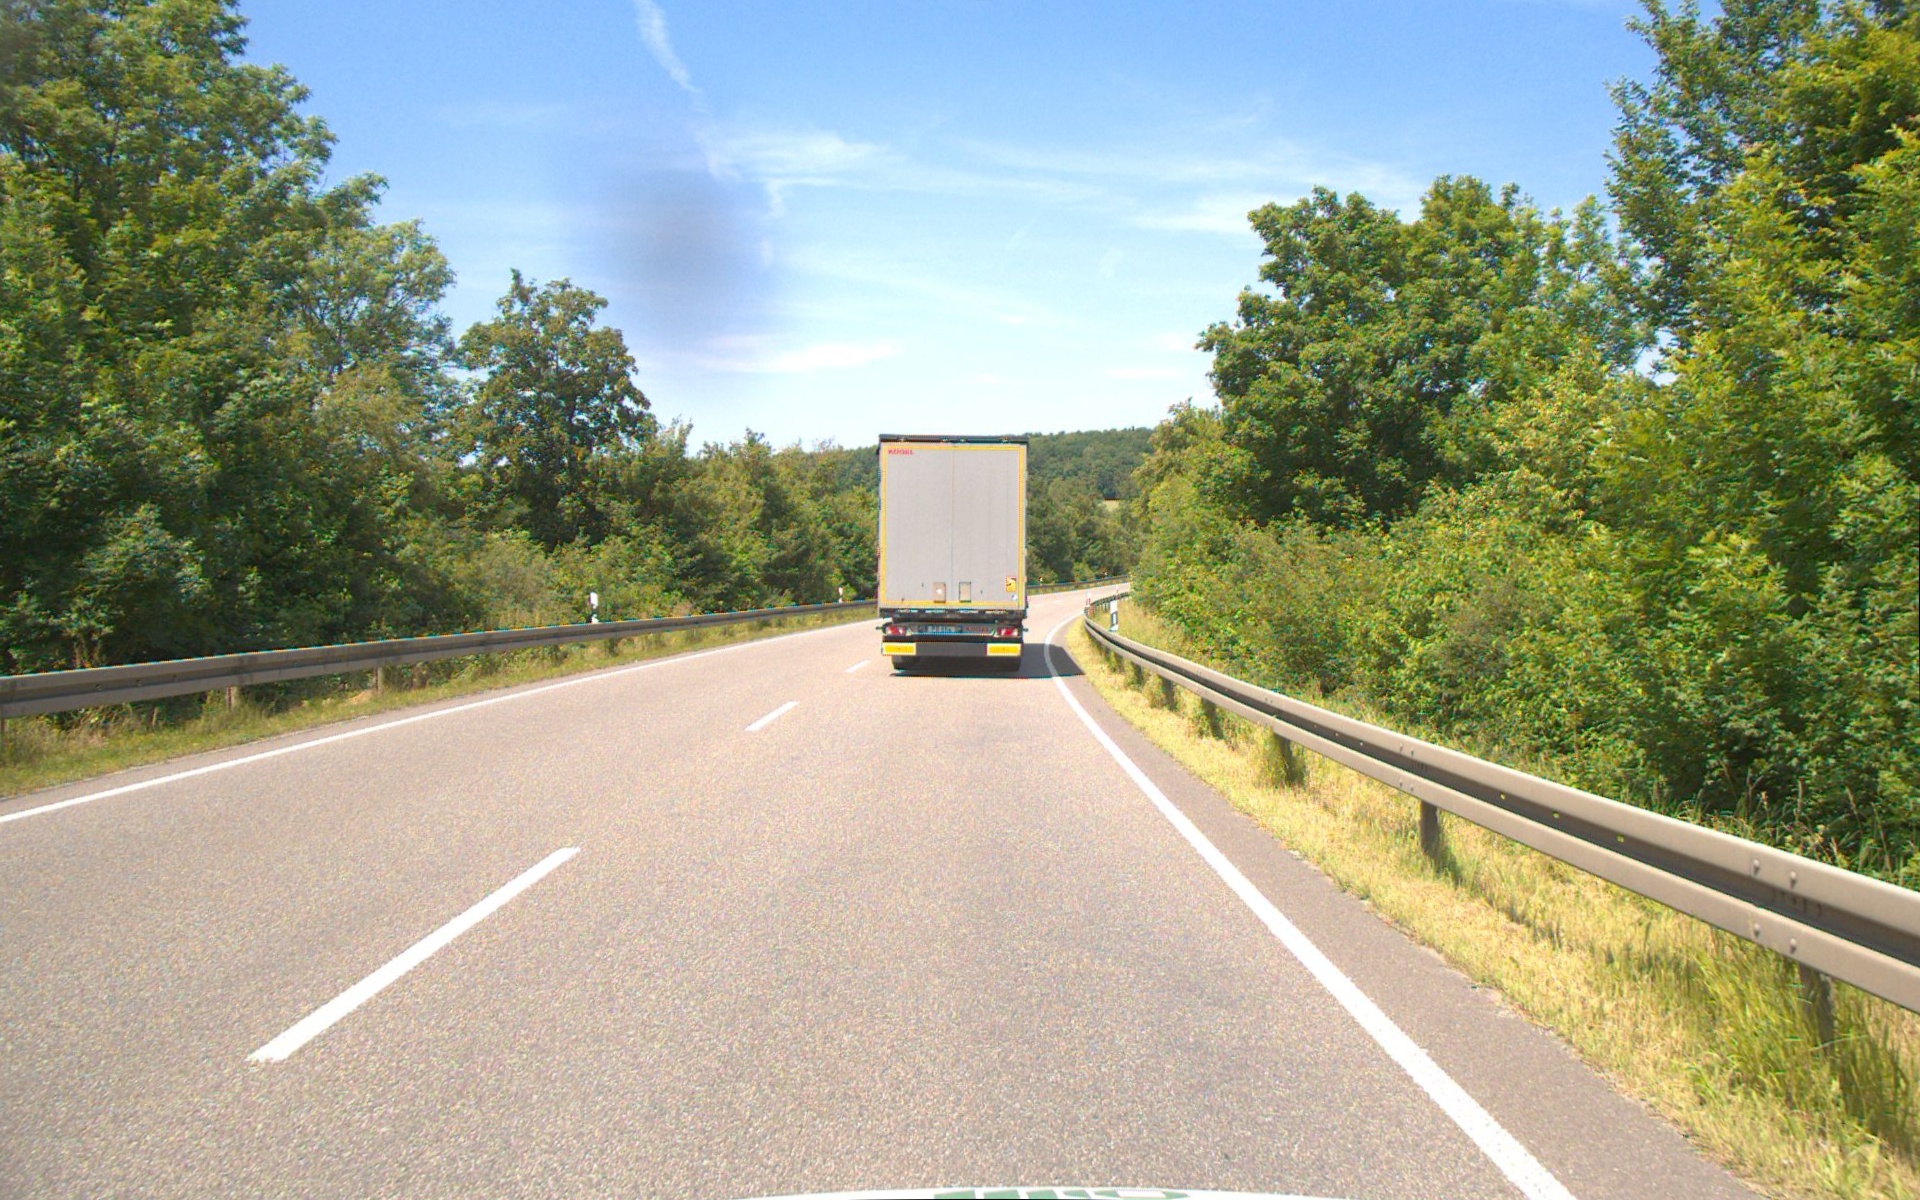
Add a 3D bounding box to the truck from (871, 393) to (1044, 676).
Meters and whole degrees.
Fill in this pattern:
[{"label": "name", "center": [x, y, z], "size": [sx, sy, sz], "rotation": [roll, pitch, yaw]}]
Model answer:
[{"label": "truck", "center": [0.022, -1.136, 33.320], "size": [2.759, 4.611, 11.769], "rotation": [2, 0, 1]}]
